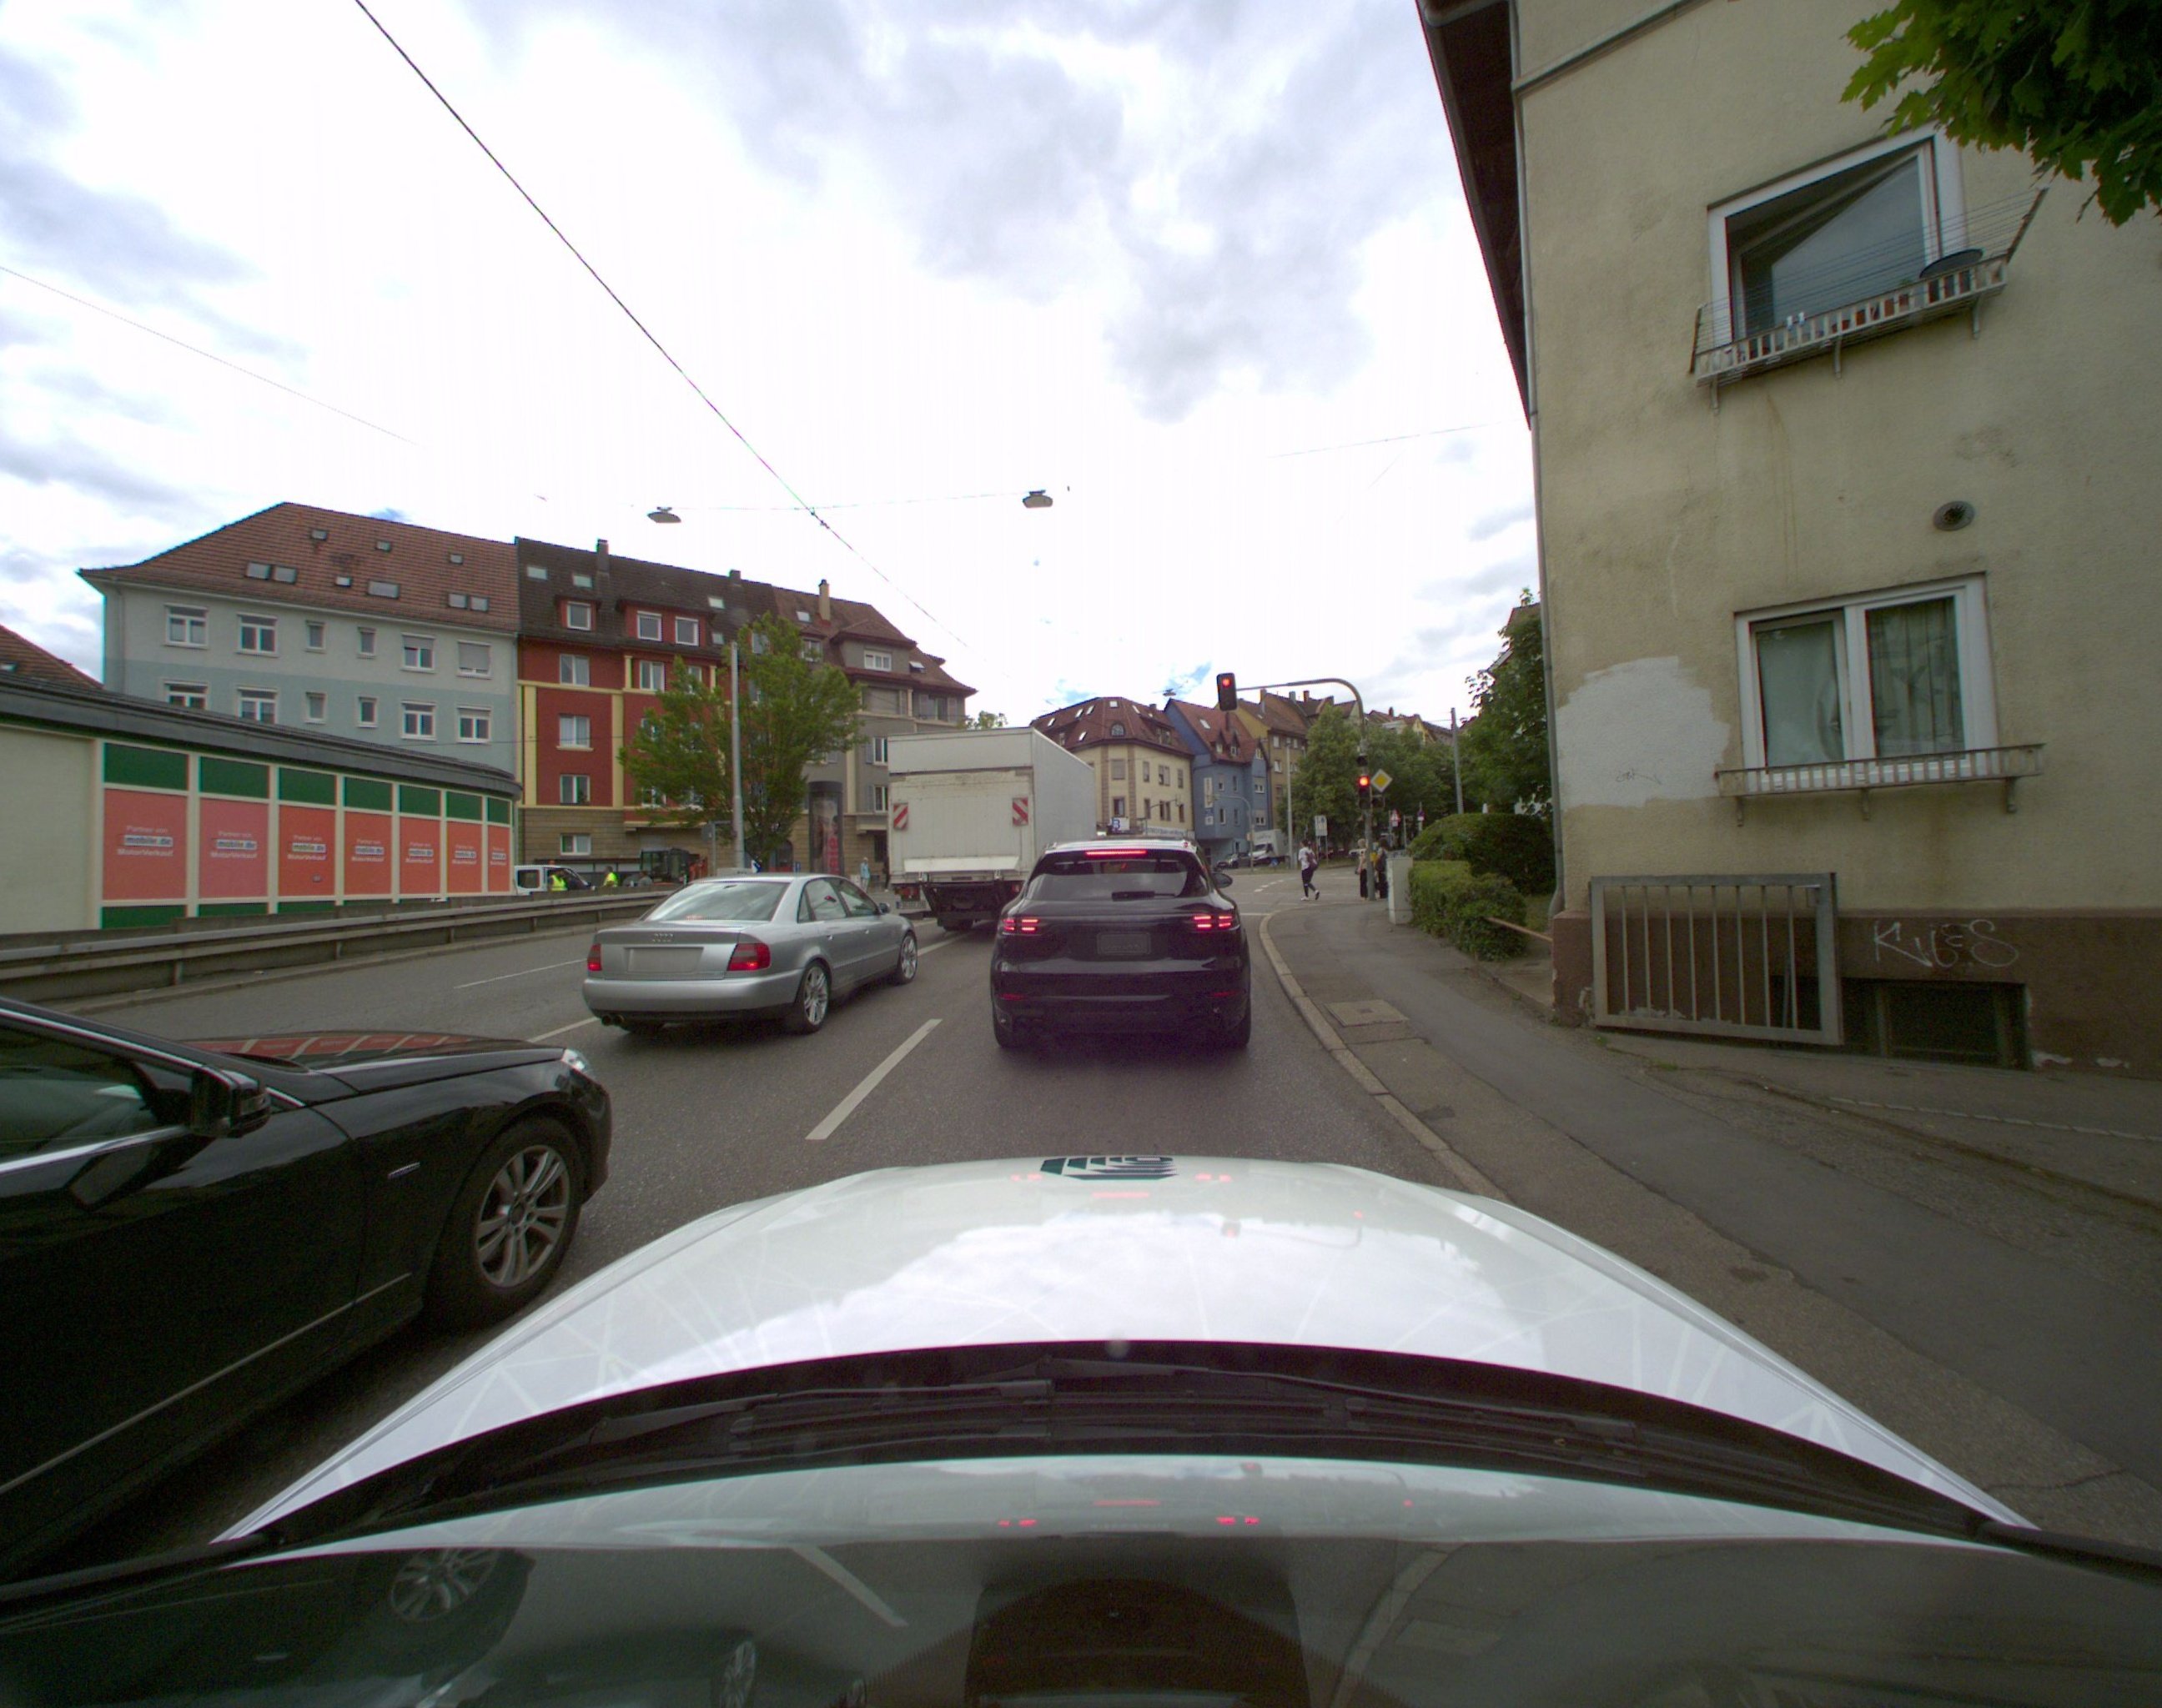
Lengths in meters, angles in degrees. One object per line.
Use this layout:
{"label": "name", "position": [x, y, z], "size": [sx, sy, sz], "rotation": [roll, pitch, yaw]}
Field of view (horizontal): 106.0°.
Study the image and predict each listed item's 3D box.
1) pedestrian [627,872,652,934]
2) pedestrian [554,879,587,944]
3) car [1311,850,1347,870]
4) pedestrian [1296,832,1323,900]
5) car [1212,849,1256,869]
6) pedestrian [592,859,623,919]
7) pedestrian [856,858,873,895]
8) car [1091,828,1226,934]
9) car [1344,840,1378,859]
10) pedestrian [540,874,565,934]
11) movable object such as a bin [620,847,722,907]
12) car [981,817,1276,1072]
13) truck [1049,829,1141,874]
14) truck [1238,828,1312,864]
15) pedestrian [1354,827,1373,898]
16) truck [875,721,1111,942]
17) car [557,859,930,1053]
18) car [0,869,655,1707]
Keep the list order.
{"label": "pedestrian", "position": [-12.588, 1.371, 23.219], "size": [0.545, 1.730, 0.587], "rotation": [1, -1, -33]}
{"label": "pedestrian", "position": [-13.700, 1.537, 21.857], "size": [0.562, 1.700, 0.541], "rotation": [1, -1, -10]}
{"label": "car", "position": [26.154, 0.635, 85.729], "size": [1.975, 2.014, 4.023], "rotation": [0, -1, 45]}
{"label": "pedestrian", "position": [6.179, 0.313, 22.055], "size": [0.587, 1.819, 0.529], "rotation": [1, -1, 2]}
{"label": "car", "position": [13.493, 0.426, 71.687], "size": [1.975, 1.684, 4.024], "rotation": [-2, -1, 43]}
{"label": "pedestrian", "position": [-14.182, 1.038, 24.412], "size": [0.570, 1.761, 0.616], "rotation": [1, -1, -7]}
{"label": "pedestrian", "position": [-9.393, 0.963, 35.343], "size": [0.587, 1.567, 0.486], "rotation": [1, -1, 1]}
{"label": "car", "position": [1.587, 0.448, 15.167], "size": [1.980, 1.684, 4.014], "rotation": [-1, 0, 12]}
{"label": "car", "position": [31.195, -0.466, 90.663], "size": [1.975, 2.014, 4.023], "rotation": [0, -1, 45]}
{"label": "pedestrian", "position": [-15.614, 1.451, 24.052], "size": [0.479, 1.730, 0.536], "rotation": [1, -1, -44]}
{"label": "movable object such as a bin", "position": [-13.168, 0.707, 26.411], "size": [1.903, 1.771, 3.984], "rotation": [1, 0, -11]}
{"label": "car", "position": [0.299, 0.590, 7.518], "size": [1.973, 1.684, 3.998], "rotation": [-1, 0, -1]}
{"label": "truck", "position": [0.852, -0.115, 54.255], "size": [2.519, 2.804, 6.642], "rotation": [1, -1, -38]}
{"label": "truck", "position": [18.738, -0.720, 78.302], "size": [2.846, 3.340, 8.846], "rotation": [0, 0, 43]}
{"label": "pedestrian", "position": [7.471, 0.223, 21.535], "size": [0.459, 1.837, 0.325], "rotation": [0, -1, 16]}
{"label": "truck", "position": [-1.329, -0.389, 17.384], "size": [2.751, 3.575, 8.088], "rotation": [-1, 0, 10]}
{"label": "car", "position": [-2.965, 0.796, 8.273], "size": [1.688, 1.373, 4.184], "rotation": [-1, 1, 6]}
{"label": "car", "position": [-2.742, 0.795, 1.203], "size": [1.741, 1.454, 4.448], "rotation": [-1, 0, 2]}
